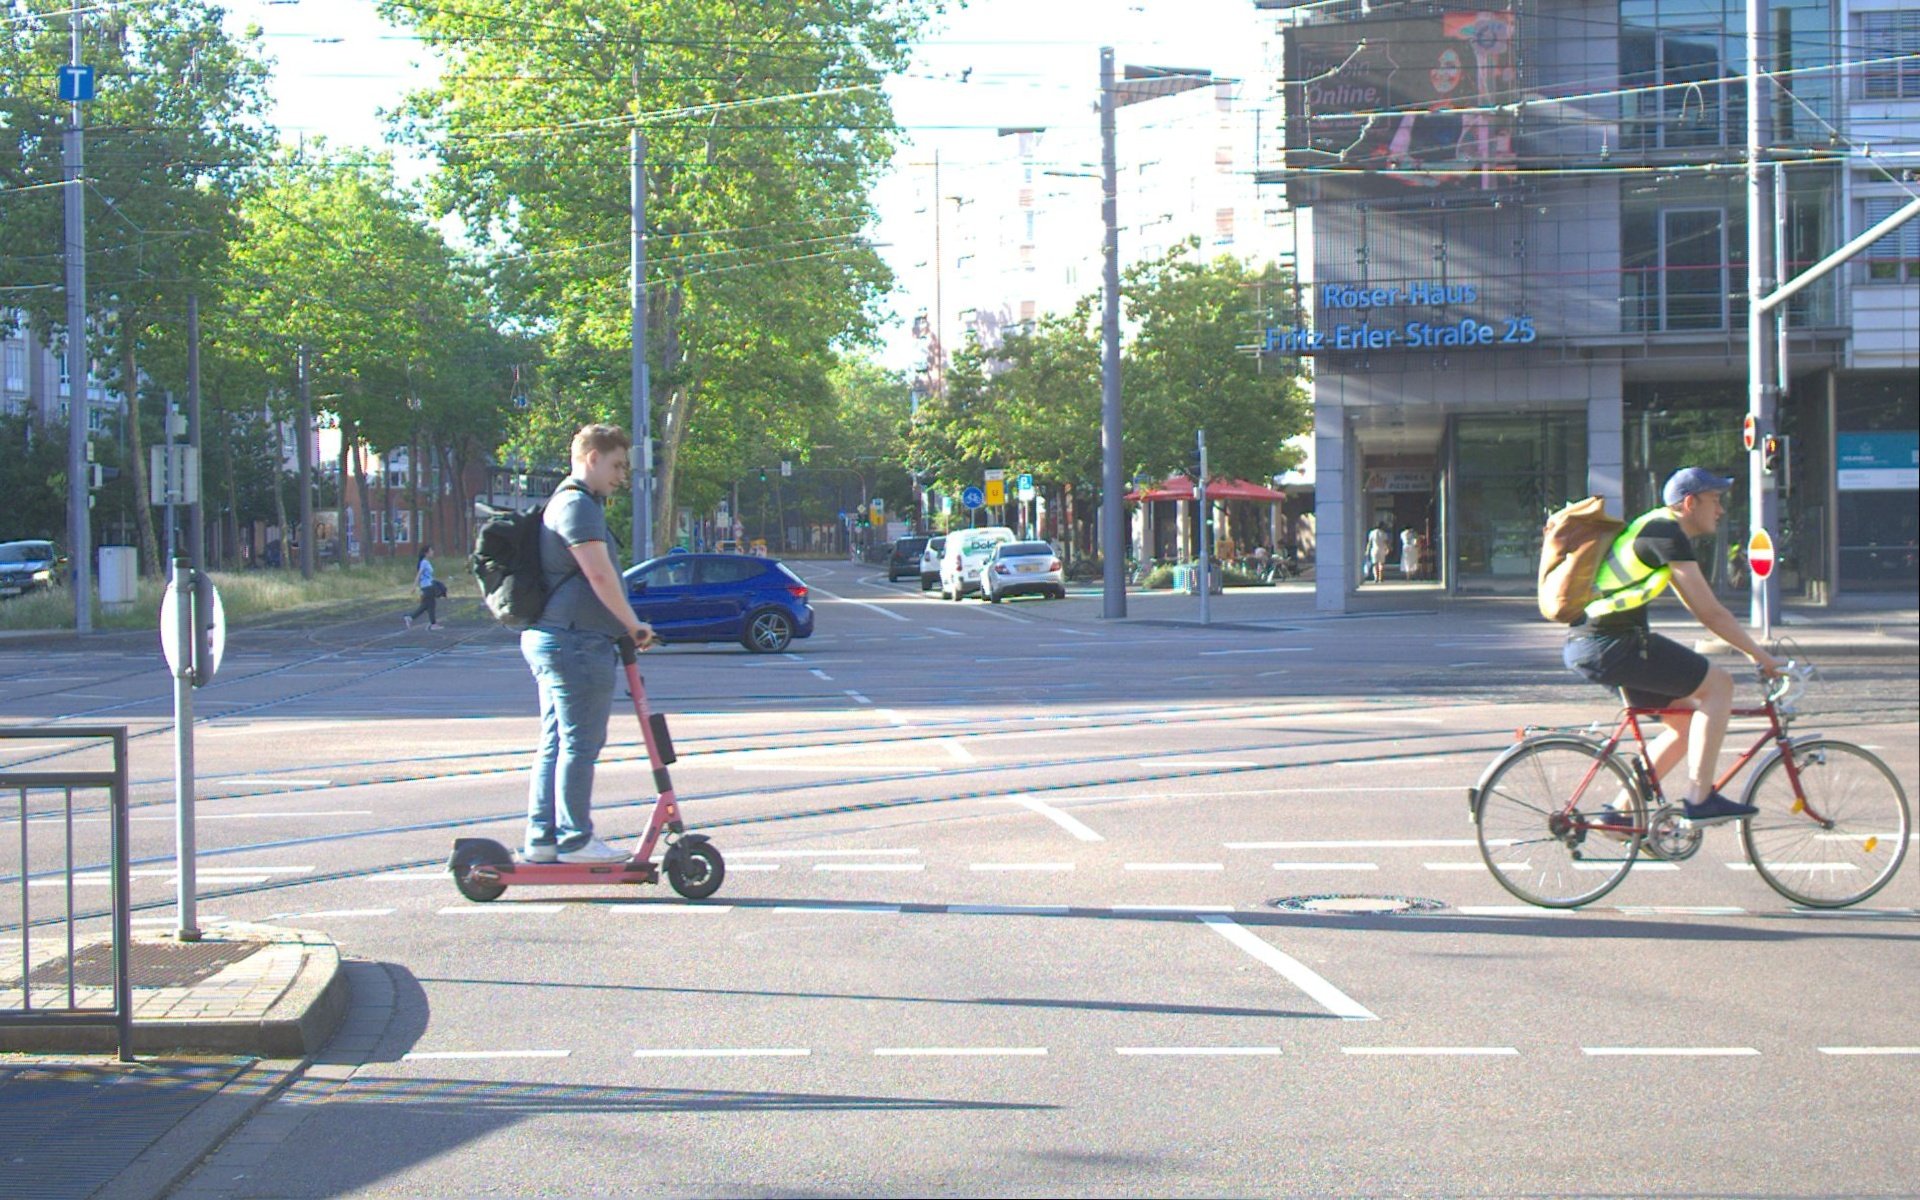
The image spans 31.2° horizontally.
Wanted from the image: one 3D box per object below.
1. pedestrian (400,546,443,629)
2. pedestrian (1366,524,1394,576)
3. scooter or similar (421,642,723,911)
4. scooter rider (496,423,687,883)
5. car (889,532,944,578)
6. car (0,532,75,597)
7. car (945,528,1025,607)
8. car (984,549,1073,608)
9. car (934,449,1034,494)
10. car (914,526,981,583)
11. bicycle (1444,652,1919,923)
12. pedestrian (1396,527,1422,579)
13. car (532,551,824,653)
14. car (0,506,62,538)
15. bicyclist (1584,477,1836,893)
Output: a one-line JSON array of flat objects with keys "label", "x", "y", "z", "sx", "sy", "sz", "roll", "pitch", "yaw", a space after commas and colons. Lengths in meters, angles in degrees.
[{"label": "pedestrian", "x": -9.949, "y": -0.232, "z": 63.526, "sx": 0.754, "sy": 1.525, "sz": 0.508, "roll": 0, "pitch": 1, "yaw": -7}, {"label": "pedestrian", "x": 11.827, "y": -1.407, "z": 96.735, "sx": 0.739, "sy": 1.460, "sz": 0.536, "roll": -1, "pitch": 1, "yaw": 9}, {"label": "scooter or similar", "x": -1.637, "y": 0.742, "z": 14.576, "sx": 1.206, "sy": 1.100, "sz": 0.403, "roll": -1, "pitch": 1, "yaw": 3}, {"label": "scooter rider", "x": -1.550, "y": 0.213, "z": 14.556, "sx": 0.663, "sy": 1.889, "sz": 0.736, "roll": -1, "pitch": 1, "yaw": 2}, {"label": "car", "x": -1.600, "y": -1.667, "z": 126.726, "sx": 1.993, "sy": 1.656, "sz": 4.000, "roll": -1, "pitch": 1, "yaw": -1}, {"label": "car", "x": -22.454, "y": -0.849, "z": 82.105, "sx": 1.993, "sy": 1.503, "sz": 4.001, "roll": -1, "pitch": 1, "yaw": -6}, {"label": "car", "x": 0.633, "y": -0.875, "z": 89.698, "sx": 1.993, "sy": 1.985, "sz": 4.000, "roll": -1, "pitch": 1, "yaw": -1}, {"label": "car", "x": 1.622, "y": -0.538, "z": 82.863, "sx": 1.993, "sy": 1.327, "sz": 4.000, "roll": -1, "pitch": 1, "yaw": -1}, {"label": "car", "x": 1.002, "y": -5.248, "z": 140.721, "sx": 3.764, "sy": 1.744, "sz": 1.780, "roll": 1, "pitch": 0, "yaw": 14}, {"label": "car", "x": -0.391, "y": -1.401, "z": 105.009, "sx": 1.993, "sy": 1.656, "sz": 4.000, "roll": -1, "pitch": 1, "yaw": -1}, {"label": "bicycle", "x": 2.976, "y": 0.754, "z": 14.052, "sx": 1.923, "sy": 1.060, "sz": 0.629, "roll": 0, "pitch": 1, "yaw": 2}, {"label": "pedestrian", "x": 12.586, "y": -1.322, "z": 96.347, "sx": 0.706, "sy": 1.460, "sz": 0.384, "roll": -1, "pitch": 1, "yaw": 9}, {"label": "car", "x": -4.047, "y": 0.015, "z": 48.955, "sx": 3.986, "sy": 1.343, "sz": 1.977, "roll": -1, "pitch": 1, "yaw": -9}, {"label": "car", "x": -47.490, "y": -3.913, "z": 173.296, "sx": 3.987, "sy": 1.547, "sz": 1.607, "roll": 1, "pitch": 1, "yaw": -31}, {"label": "bicyclist", "x": 3.051, "y": 0.335, "z": 14.038, "sx": 0.904, "sy": 1.658, "sz": 0.639, "roll": 0, "pitch": 1, "yaw": 2}]
